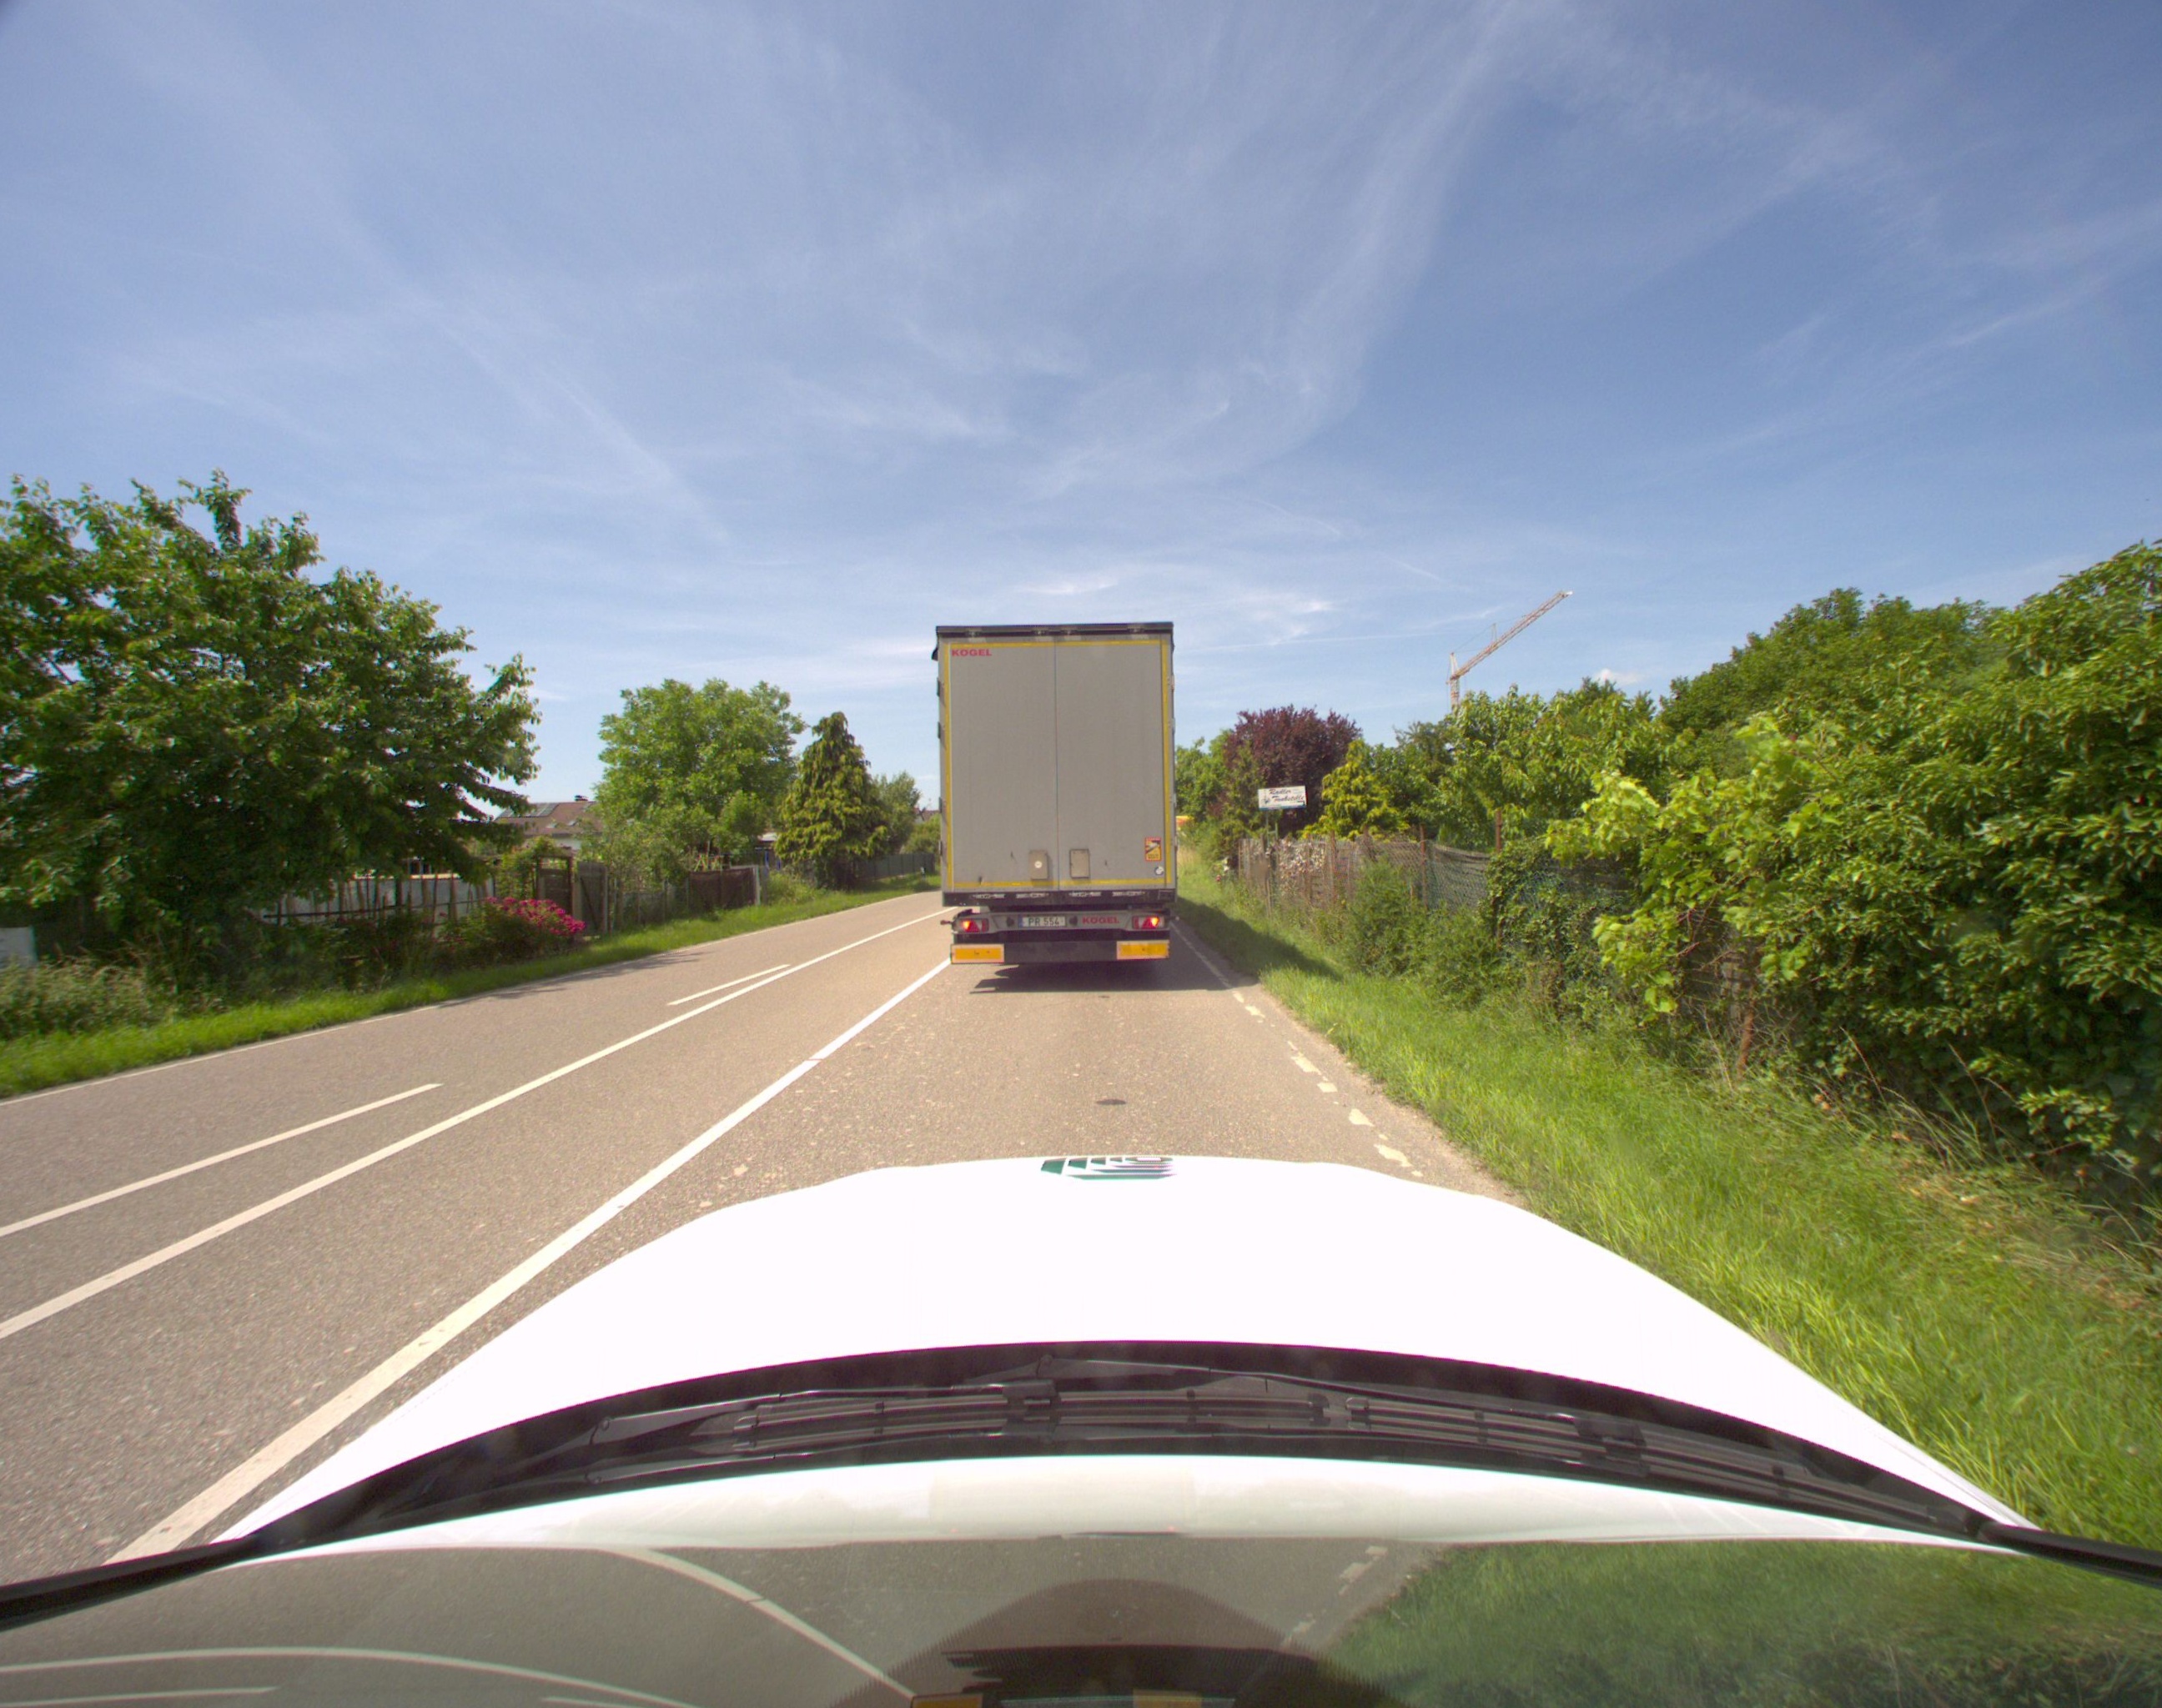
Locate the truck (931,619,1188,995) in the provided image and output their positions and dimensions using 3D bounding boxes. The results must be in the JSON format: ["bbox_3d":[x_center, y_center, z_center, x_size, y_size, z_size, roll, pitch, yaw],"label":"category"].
[{"bbox_3d":[-0.231,-0.517,12.992,2.639,3.917,8.823,-1,0,0],"label":"truck"}]
